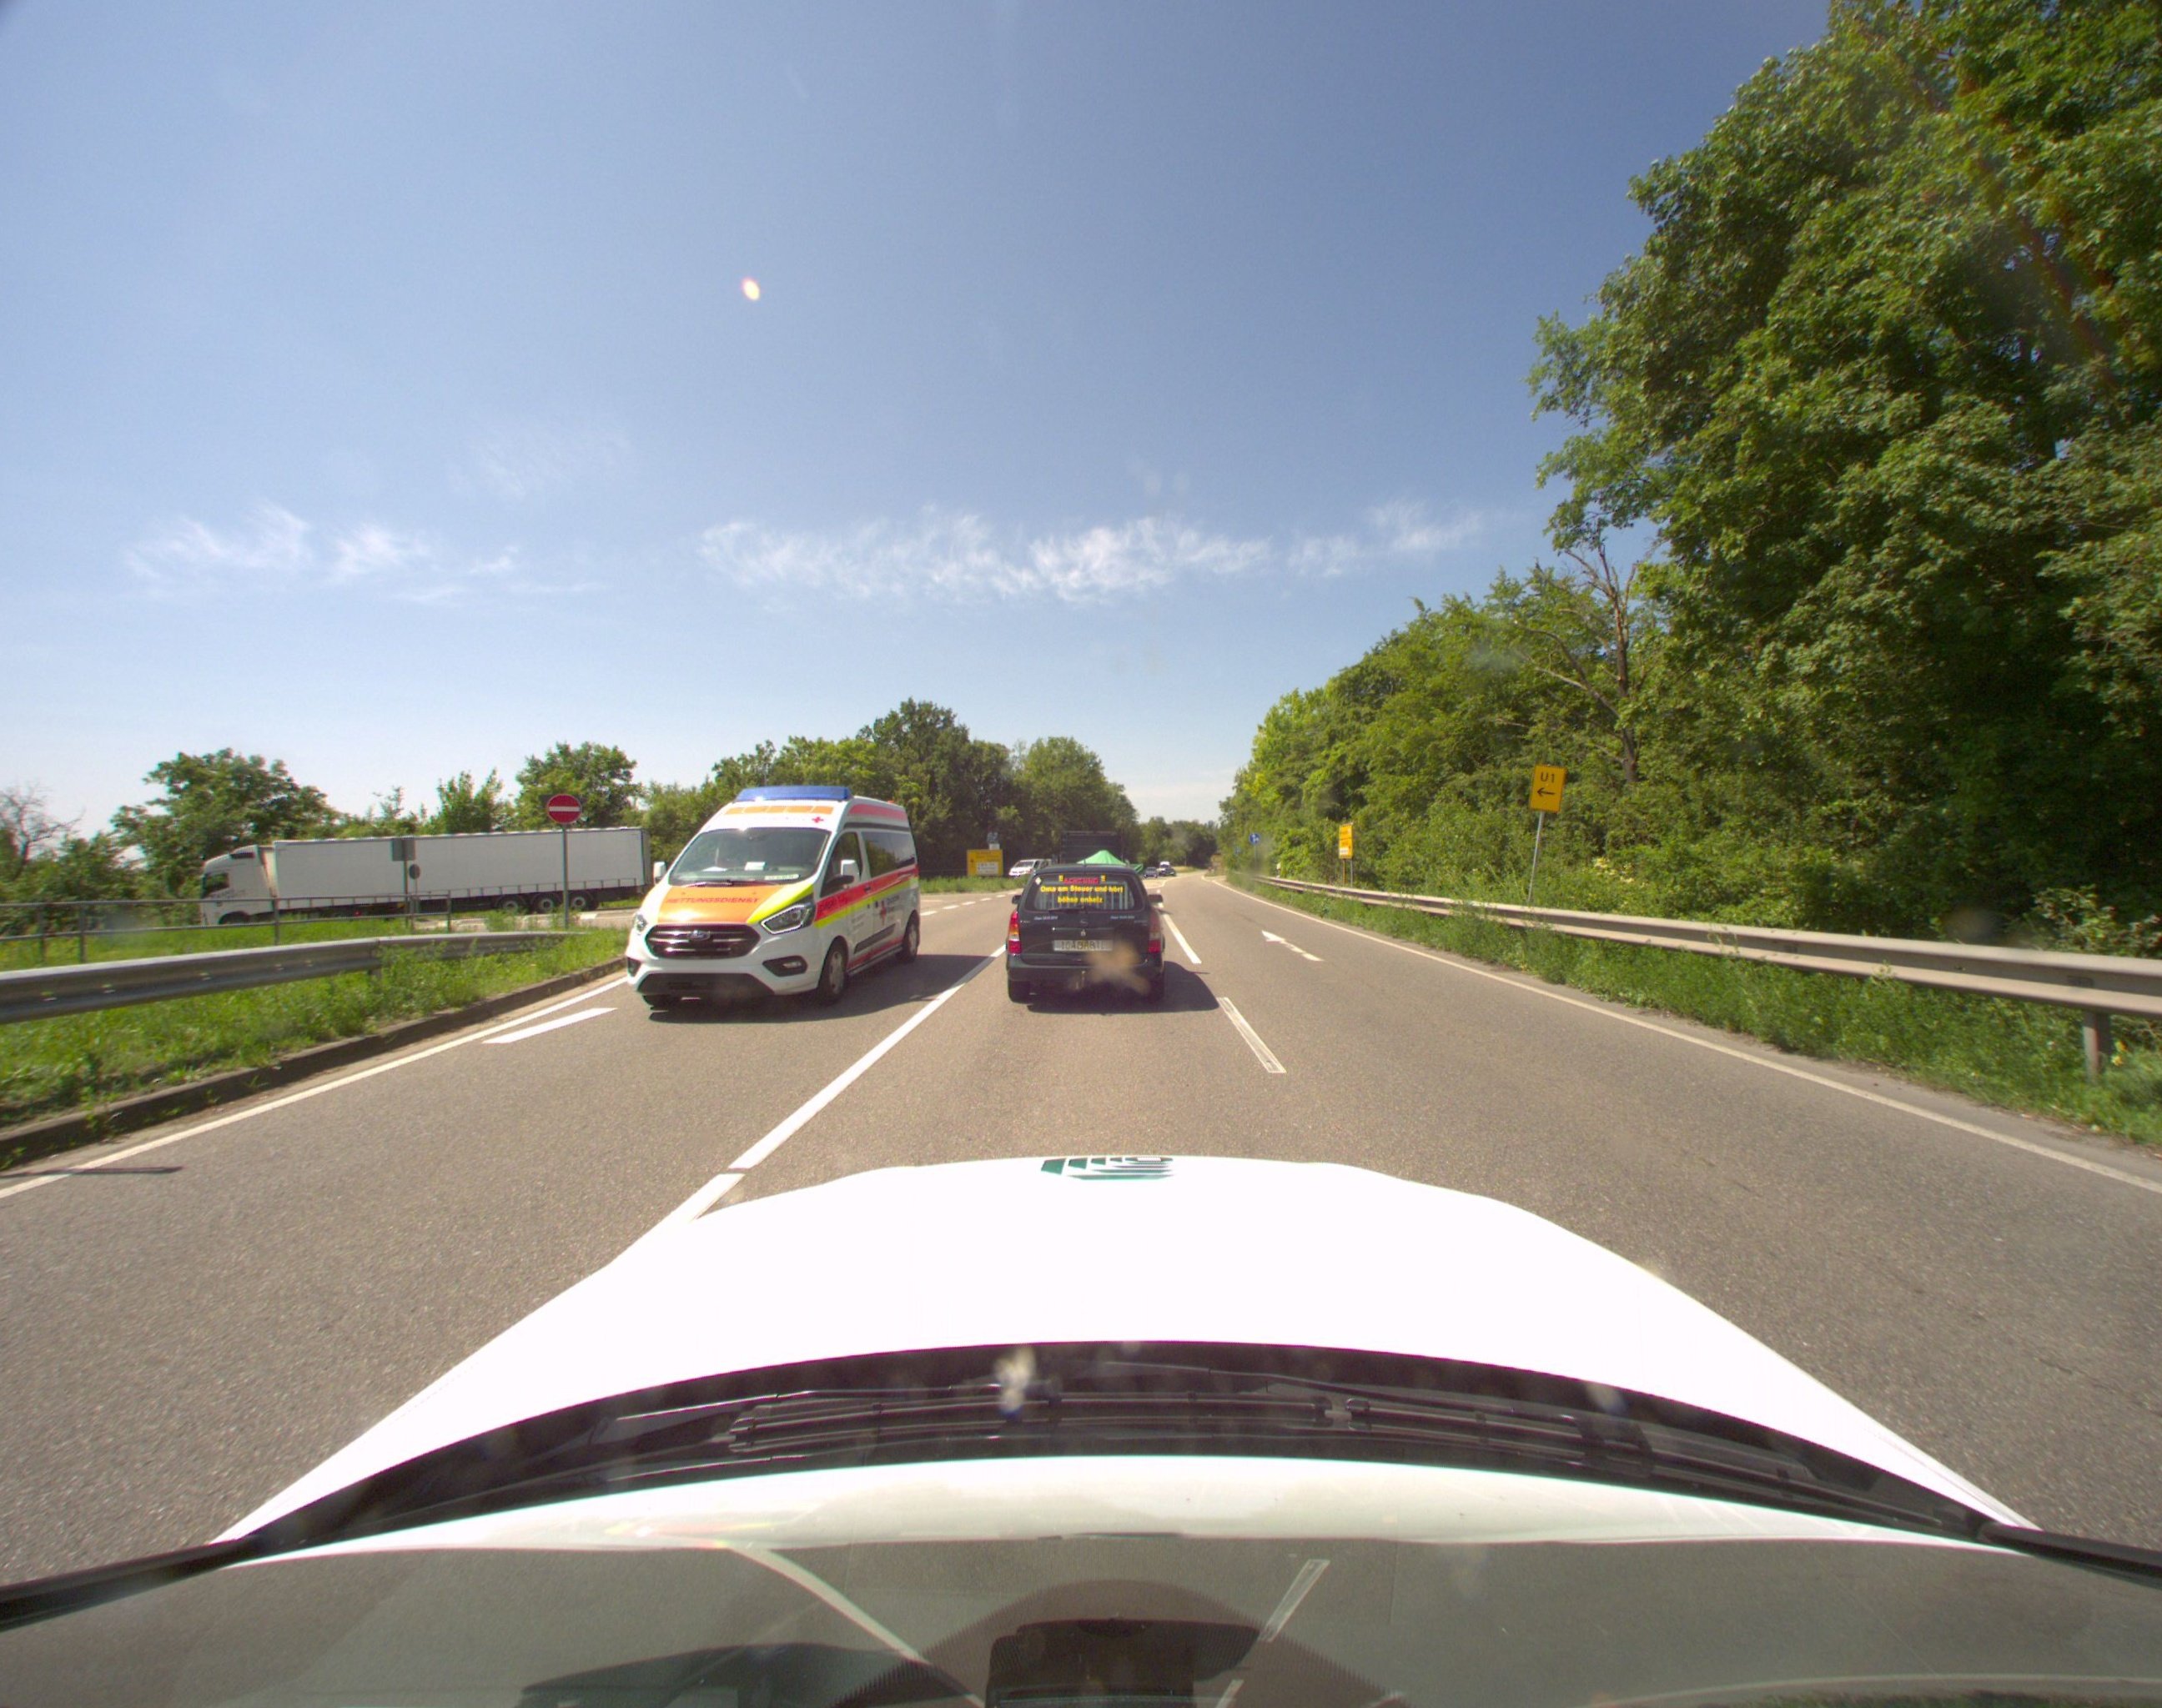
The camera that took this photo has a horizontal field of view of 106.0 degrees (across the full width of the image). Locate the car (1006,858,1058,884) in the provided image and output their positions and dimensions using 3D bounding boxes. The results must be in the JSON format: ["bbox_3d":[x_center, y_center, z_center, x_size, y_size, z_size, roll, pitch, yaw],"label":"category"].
[{"bbox_3d":[-3.857,1.350,65.226,1.992,1.924,5.223,-1,0,24],"label":"car"}]

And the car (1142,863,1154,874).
[{"bbox_3d":[9.230,2.020,112.134,1.636,1.419,3.771,0,-1,5],"label":"car"}]

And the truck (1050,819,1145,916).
[{"bbox_3d":[0.322,0.377,24.966,2.136,2.565,6.625,-1,0,-6],"label":"truck"}]

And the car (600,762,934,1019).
[{"bbox_3d":[-3.375,0.338,10.110,1.983,2.368,5.183,0,0,2],"label":"car"}]

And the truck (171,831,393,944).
[{"bbox_3d":[-34.155,1.335,35.123,5.917,4.275,2.985,-3,1,-14],"label":"truck"}]

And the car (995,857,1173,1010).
[{"bbox_3d":[0.123,0.777,9.799,1.713,1.457,3.800,-1,0,3],"label":"car"}]

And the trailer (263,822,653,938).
[{"bbox_3d":[-27.895,0.969,37.798,13.811,4.275,2.975,-3,1,-24],"label":"trailer"}]

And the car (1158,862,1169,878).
[{"bbox_3d":[15.374,2.996,151.671,2.094,2.850,6.022,-1,-1,6],"label":"car"}]
